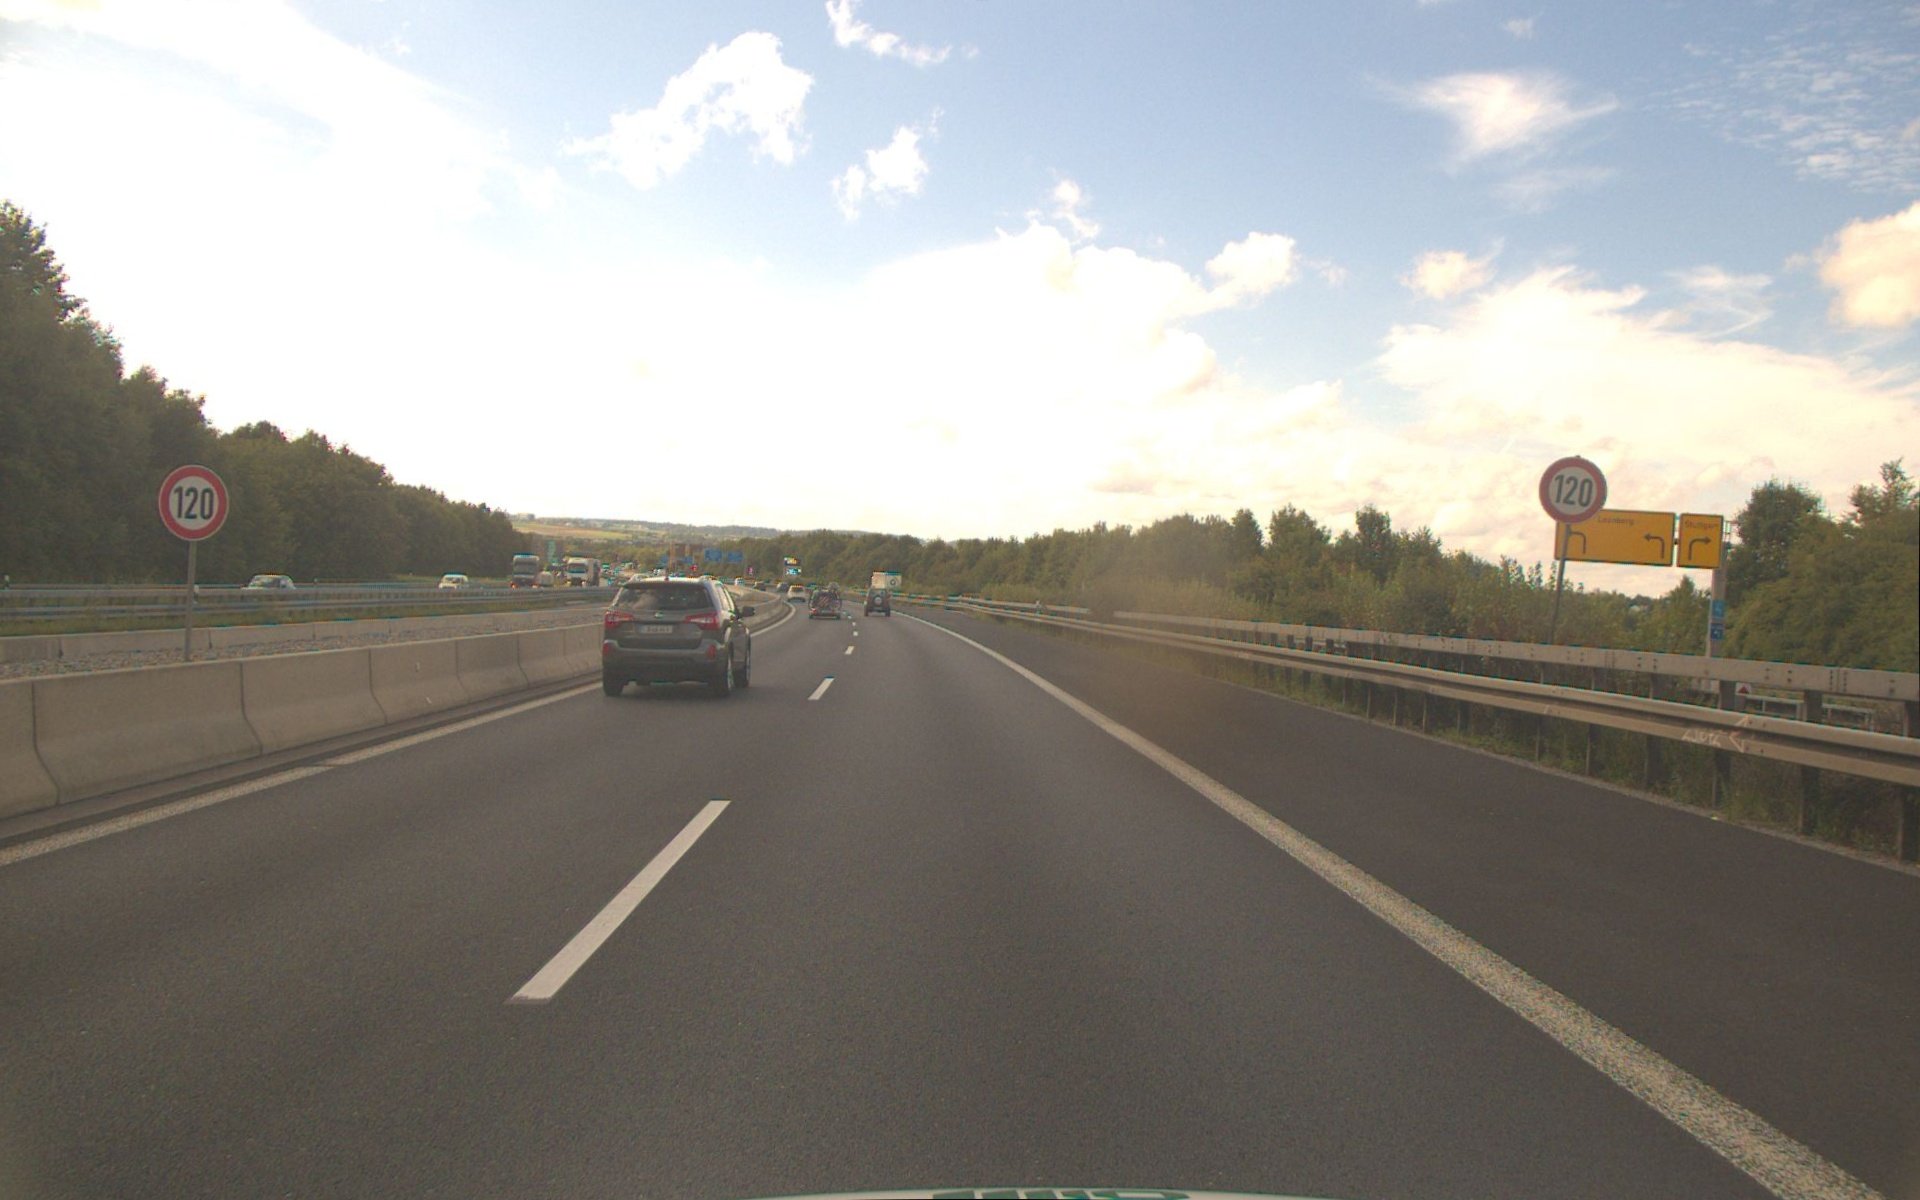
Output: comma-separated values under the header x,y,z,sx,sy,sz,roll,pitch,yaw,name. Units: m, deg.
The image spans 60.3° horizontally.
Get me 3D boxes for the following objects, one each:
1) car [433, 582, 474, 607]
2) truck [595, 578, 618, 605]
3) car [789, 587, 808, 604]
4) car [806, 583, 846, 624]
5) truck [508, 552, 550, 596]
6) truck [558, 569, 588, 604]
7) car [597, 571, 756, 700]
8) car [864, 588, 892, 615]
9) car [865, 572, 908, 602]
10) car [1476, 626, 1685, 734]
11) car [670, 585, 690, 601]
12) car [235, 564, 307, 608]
x,y,z,sx,sy,sz,roll,pitch,yaw,name
-41.944,-0.445,137.065,1.954,1.887,5.258,1,-1,-3,car
-54.227,-1.263,253.585,2.848,4.038,10.441,1,-1,-9,truck
-17.661,-0.498,180.499,1.955,1.713,3.994,1,-1,-6,car
-7.424,0.188,91.880,1.990,2.189,3.998,1,1,-3,car
-39.259,-2.349,150.781,2.757,3.893,7.117,1,0,-8,truck
-50.578,-1.736,216.167,3.259,4.368,6.733,1,-1,-9,truck
-4.258,0.501,25.608,1.781,1.766,5.183,1,0,-3,car
-5.130,0.059,103.399,1.556,1.625,4.091,1,0,-5,car
-11.714,-2.014,262.252,4.649,4.341,11.359,1,-1,-15,car
10.637,1.319,28.713,1.749,1.599,4.341,1,0,-4,car
-29.273,-0.694,172.872,1.679,1.554,4.761,1,-1,-5,car
-33.394,-0.682,80.284,1.954,2.049,3.998,1,0,-3,car
